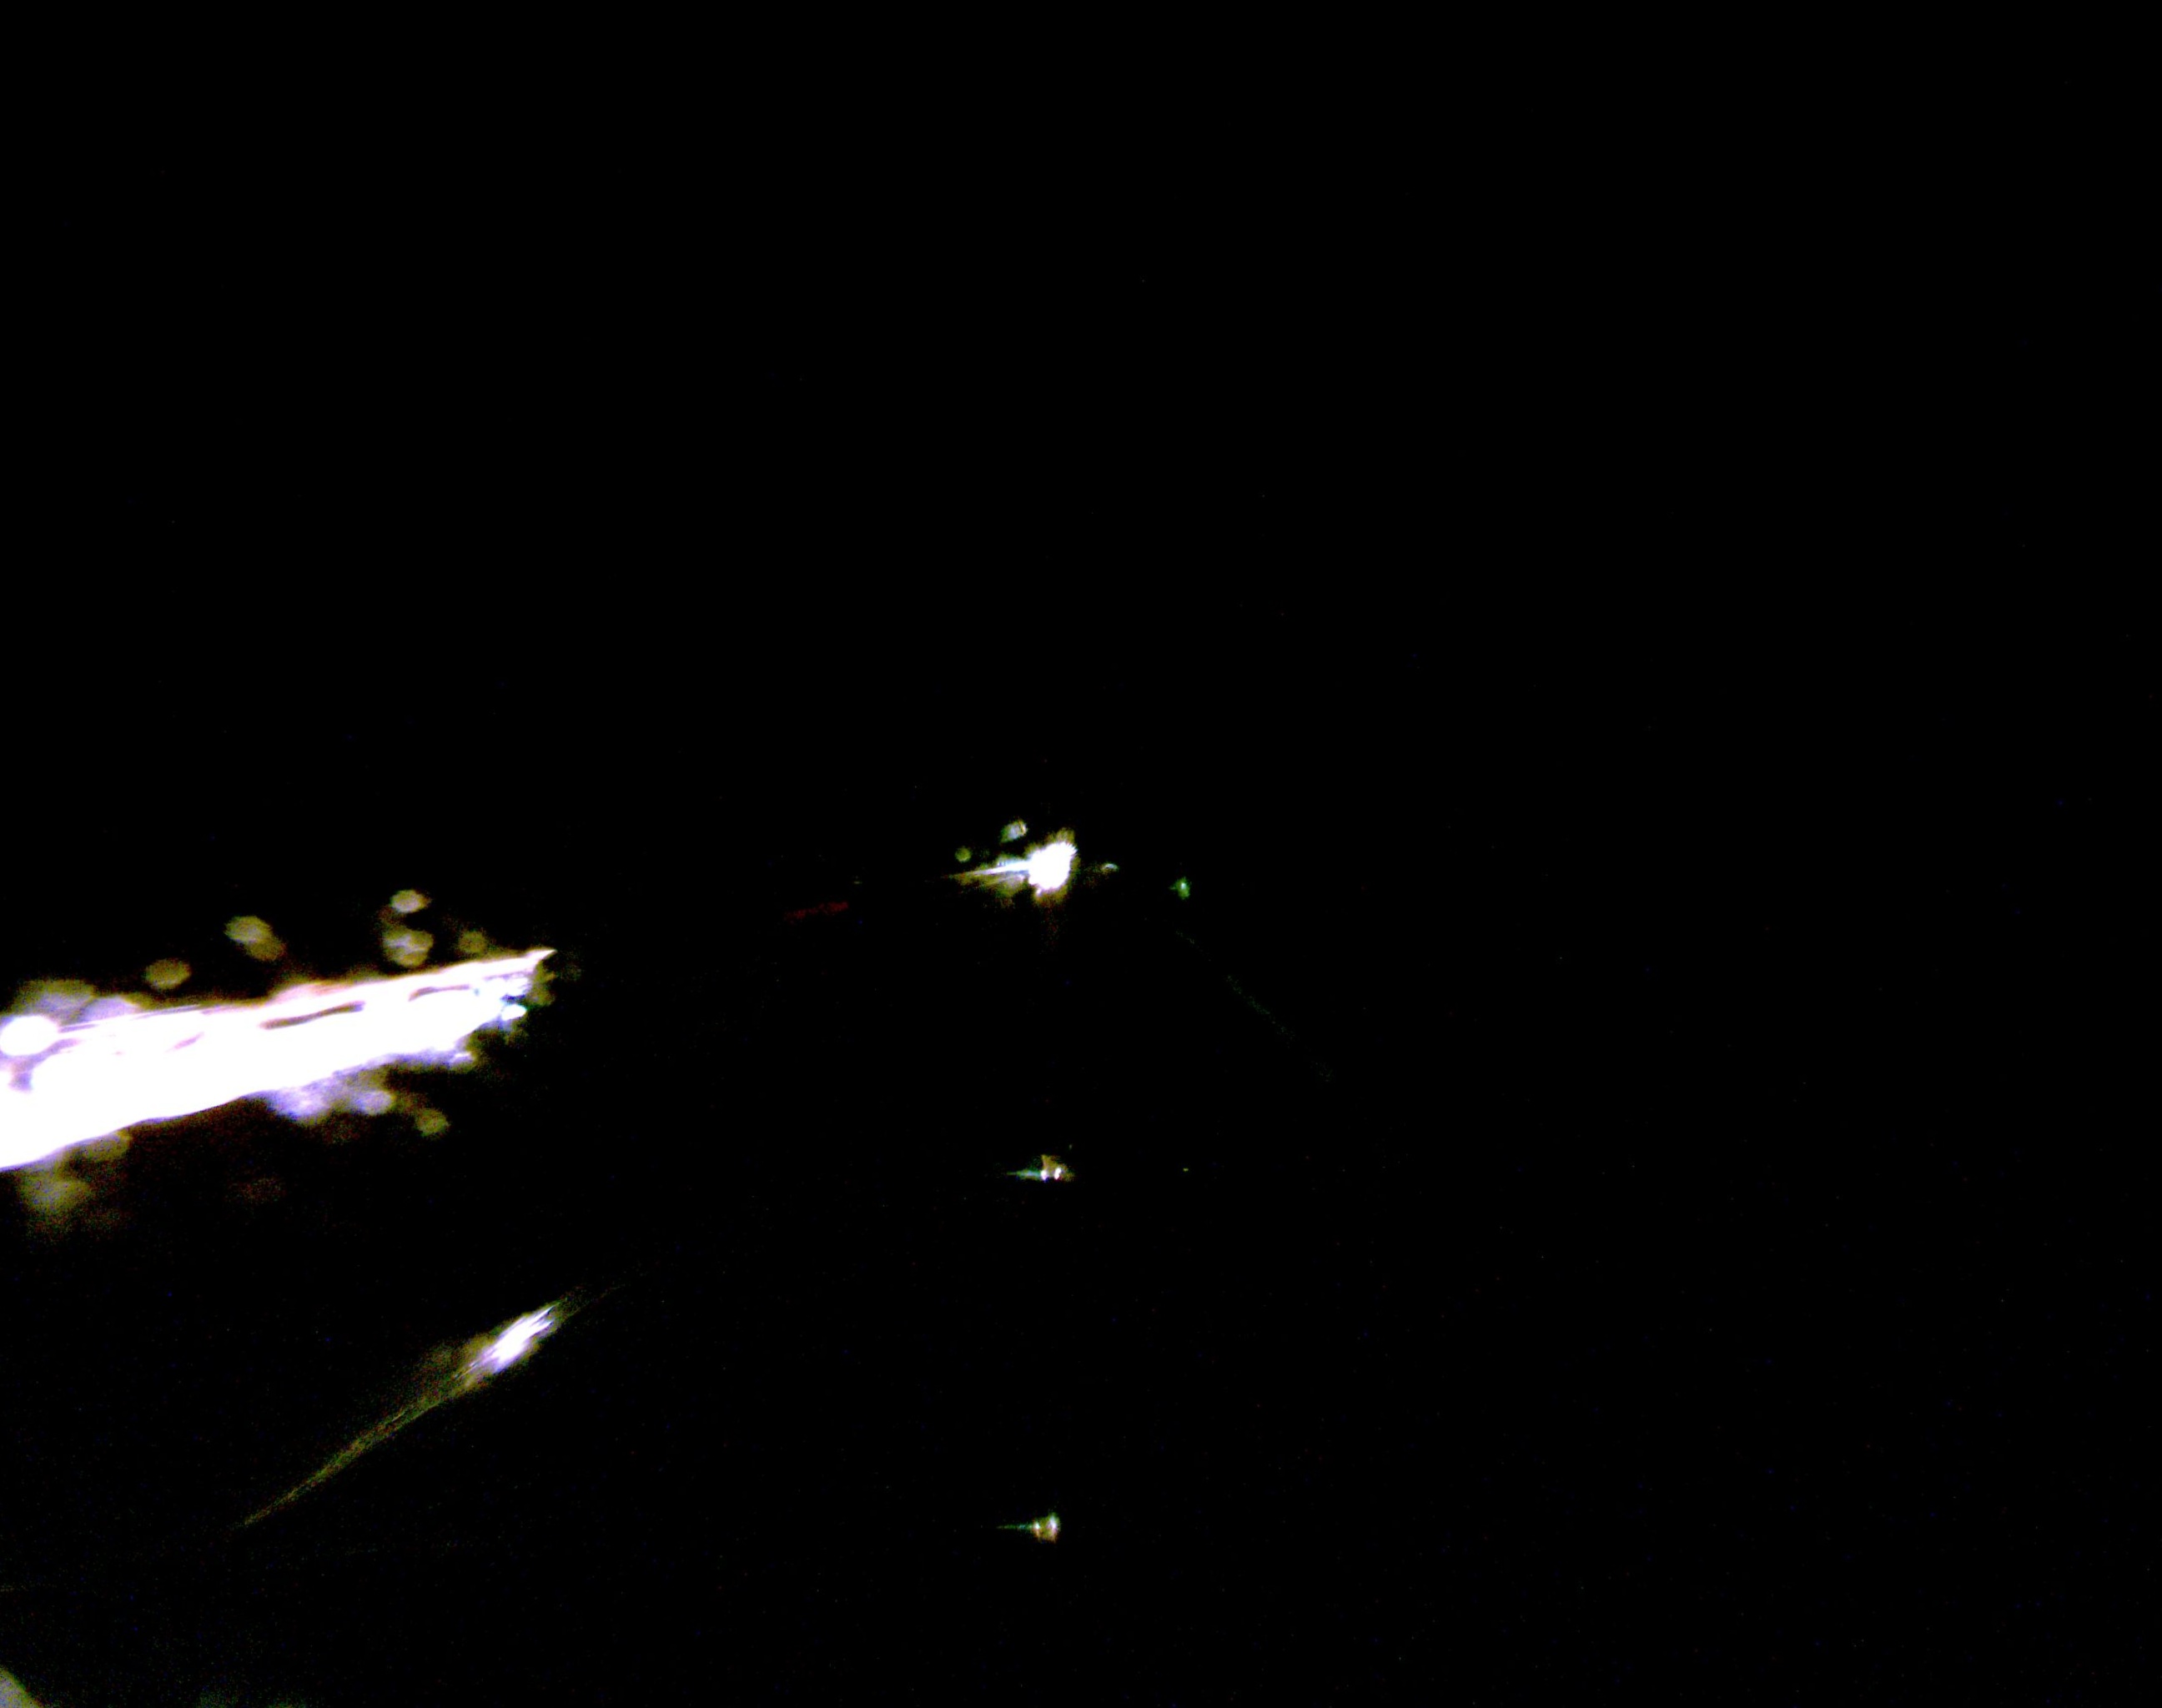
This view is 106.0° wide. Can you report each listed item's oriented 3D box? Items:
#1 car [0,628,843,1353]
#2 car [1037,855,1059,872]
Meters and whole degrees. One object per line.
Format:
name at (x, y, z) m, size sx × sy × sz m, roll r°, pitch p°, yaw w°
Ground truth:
car at (-3.430, 0.416, 5.297) m, size 1.986 × 2.272 × 5.469 m, roll -1°, pitch 0°, yaw 2°
car at (-3.196, 0.864, 78.696) m, size 1.919 × 1.574 × 4.347 m, roll -1°, pitch 0°, yaw 0°
